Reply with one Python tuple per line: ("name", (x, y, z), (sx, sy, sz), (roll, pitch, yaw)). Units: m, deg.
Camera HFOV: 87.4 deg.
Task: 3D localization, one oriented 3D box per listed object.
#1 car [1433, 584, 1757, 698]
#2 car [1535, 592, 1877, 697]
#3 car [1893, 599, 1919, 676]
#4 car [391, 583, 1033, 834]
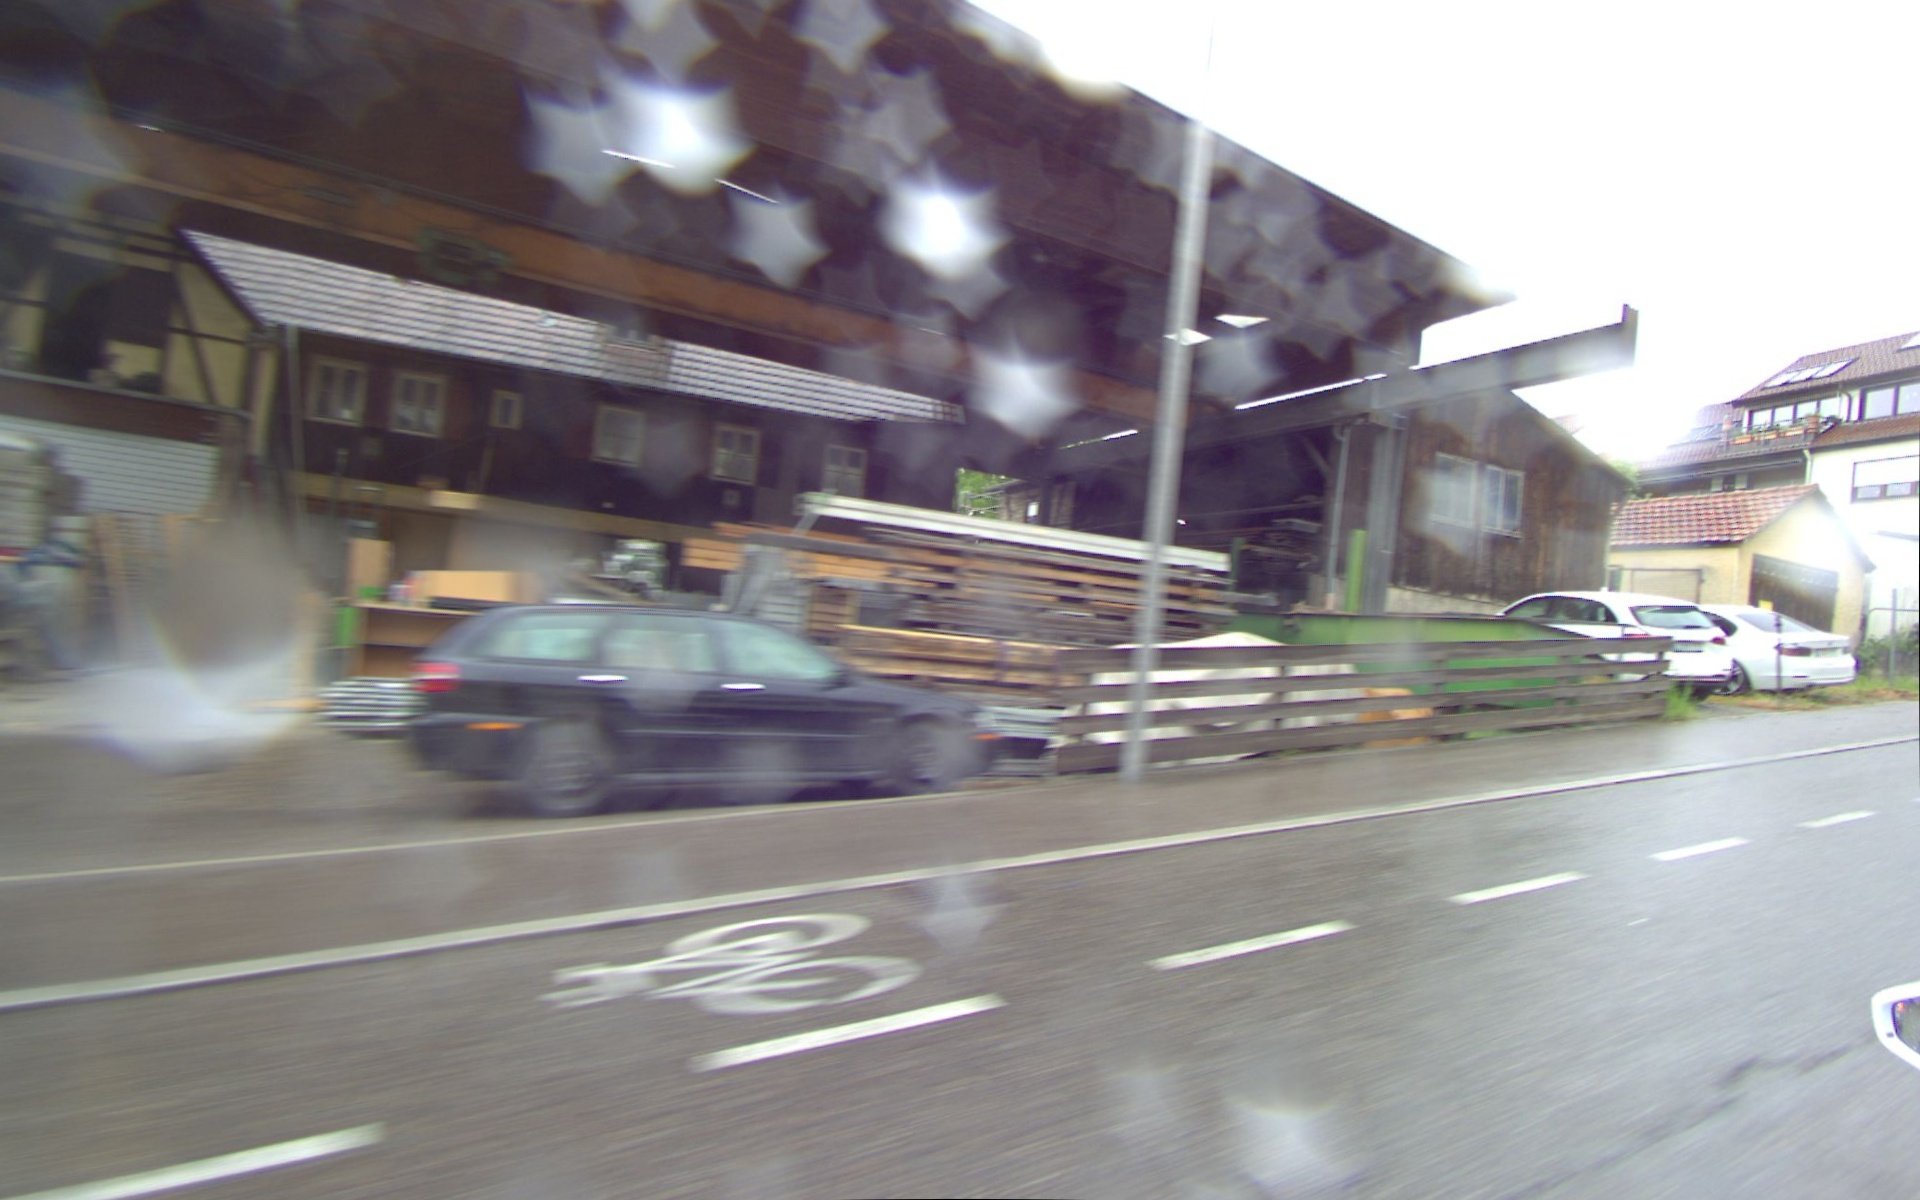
("car", (9.610, 0.550, 15.617), (1.870, 1.525, 3.985), (1, 0, -17))
("car", (12.553, 0.666, 17.338), (1.870, 1.525, 4.494), (1, 0, -17))
("car", (23.488, 0.886, 22.196), (4.882, 1.681, 1.973), (1, 0, -16))
("car", (-1.796, 0.688, 7.733), (4.390, 1.460, 1.887), (1, -1, -28))
